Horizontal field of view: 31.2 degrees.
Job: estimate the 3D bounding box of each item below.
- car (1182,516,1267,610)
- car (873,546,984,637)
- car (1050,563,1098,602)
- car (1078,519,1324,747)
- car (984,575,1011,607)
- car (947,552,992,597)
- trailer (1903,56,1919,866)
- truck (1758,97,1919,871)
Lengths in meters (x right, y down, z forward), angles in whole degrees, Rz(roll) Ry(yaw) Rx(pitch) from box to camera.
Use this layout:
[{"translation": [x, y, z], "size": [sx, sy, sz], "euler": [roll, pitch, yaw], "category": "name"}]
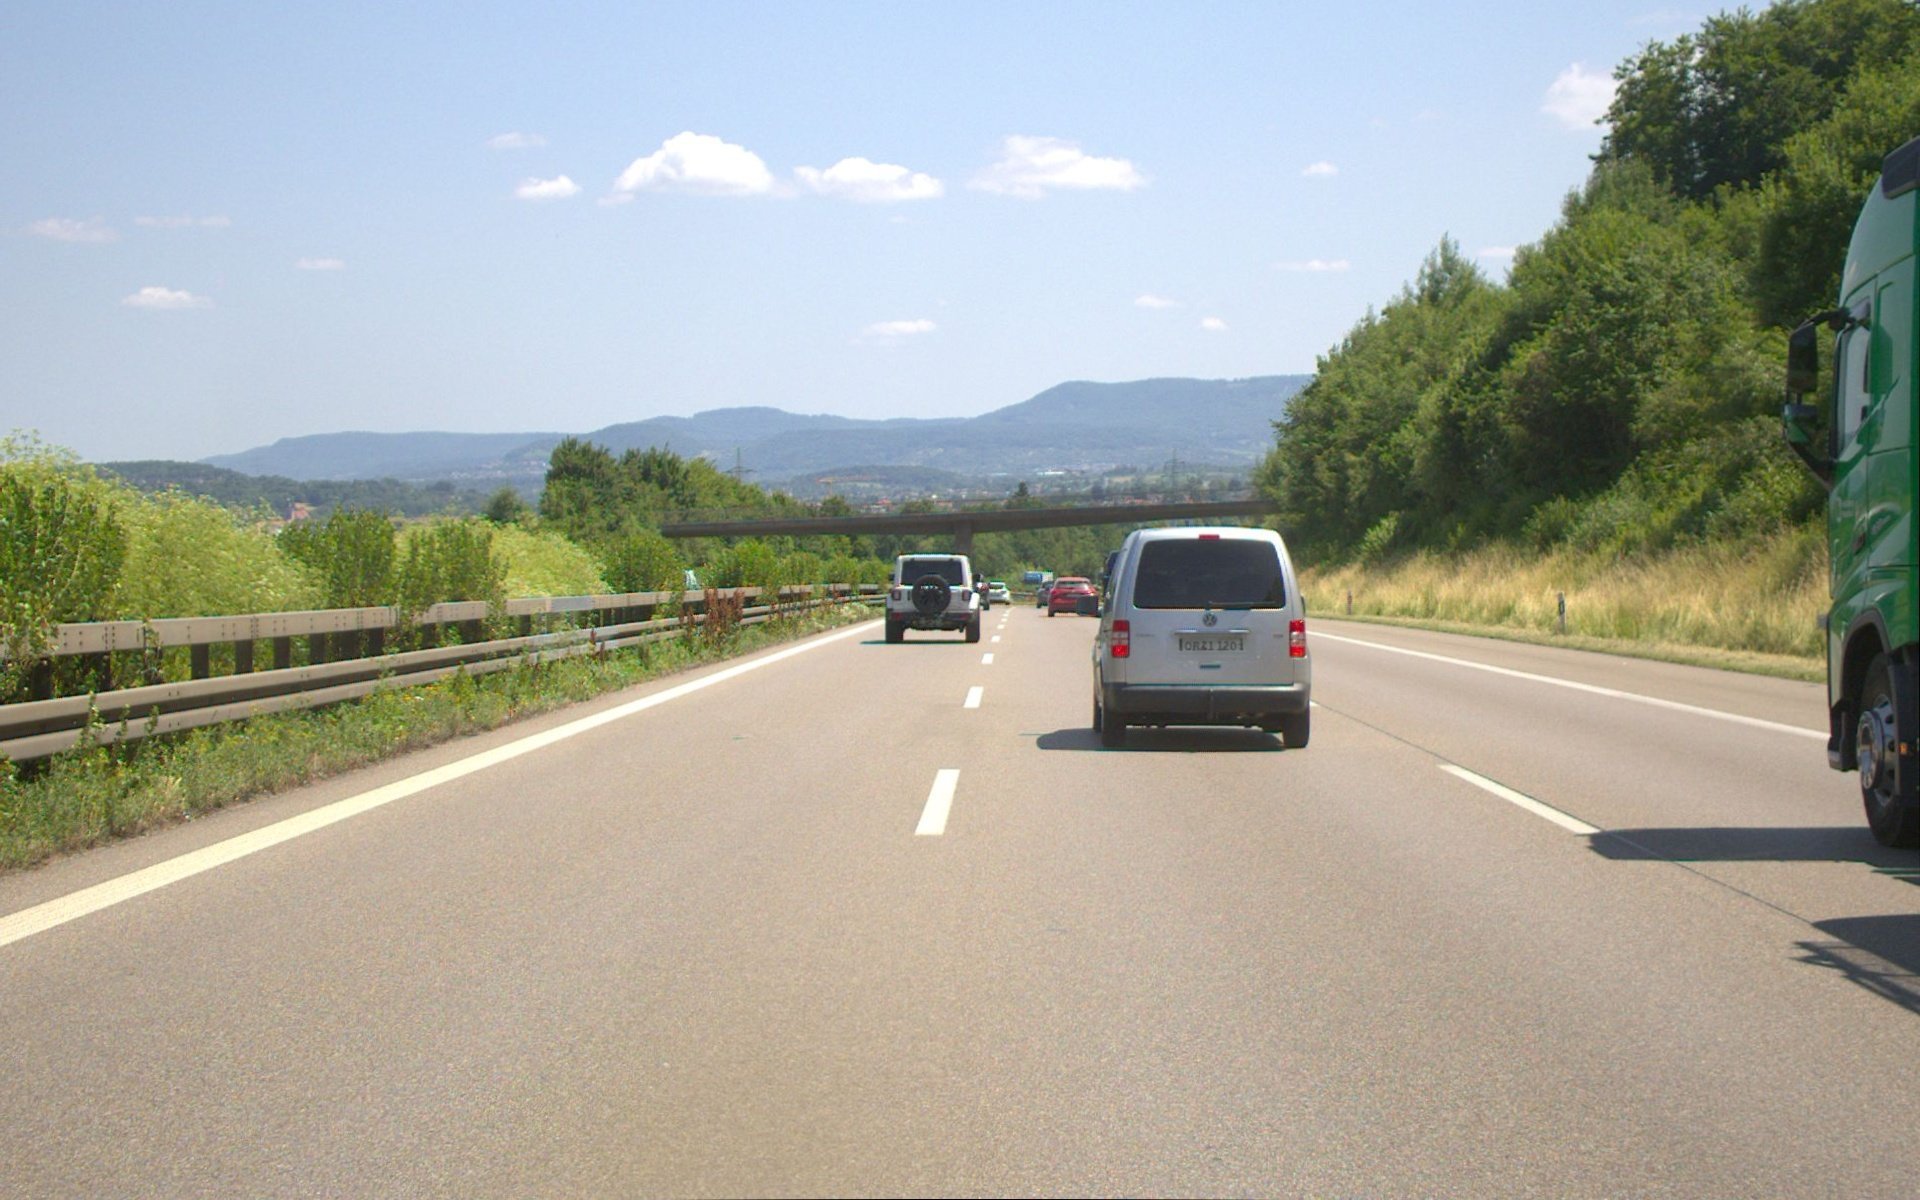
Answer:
[{"translation": [7.505, -1.075, 98.037], "size": [2.089, 2.567, 6.622], "euler": [0, 1, 2], "category": "car"}, {"translation": [-0.627, -0.216, 72.554], "size": [2.084, 1.823, 4.753], "euler": [0, 1, 3], "category": "car"}, {"translation": [4.128, -0.652, 125.070], "size": [1.686, 1.374, 3.949], "euler": [0, 1, 1], "category": "car"}, {"translation": [2.033, 0.221, 30.172], "size": [1.745, 1.823, 4.801], "euler": [0, 1, -1], "category": "car"}, {"translation": [2.428, -0.589, 221.652], "size": [1.698, 2.007, 3.822], "euler": [0, 1, 2], "category": "car"}, {"translation": [0.451, -1.183, 156.362], "size": [1.993, 2.007, 4.000], "euler": [0, 1, 1], "category": "car"}, {"translation": [5.950, -0.591, 11.996], "size": [2.587, 4.014, 10.470], "euler": [0, 1, 1], "category": "trailer"}, {"translation": [5.998, -0.585, 17.842], "size": [2.509, 3.828, 4.893], "euler": [0, 1, 0], "category": "truck"}]
